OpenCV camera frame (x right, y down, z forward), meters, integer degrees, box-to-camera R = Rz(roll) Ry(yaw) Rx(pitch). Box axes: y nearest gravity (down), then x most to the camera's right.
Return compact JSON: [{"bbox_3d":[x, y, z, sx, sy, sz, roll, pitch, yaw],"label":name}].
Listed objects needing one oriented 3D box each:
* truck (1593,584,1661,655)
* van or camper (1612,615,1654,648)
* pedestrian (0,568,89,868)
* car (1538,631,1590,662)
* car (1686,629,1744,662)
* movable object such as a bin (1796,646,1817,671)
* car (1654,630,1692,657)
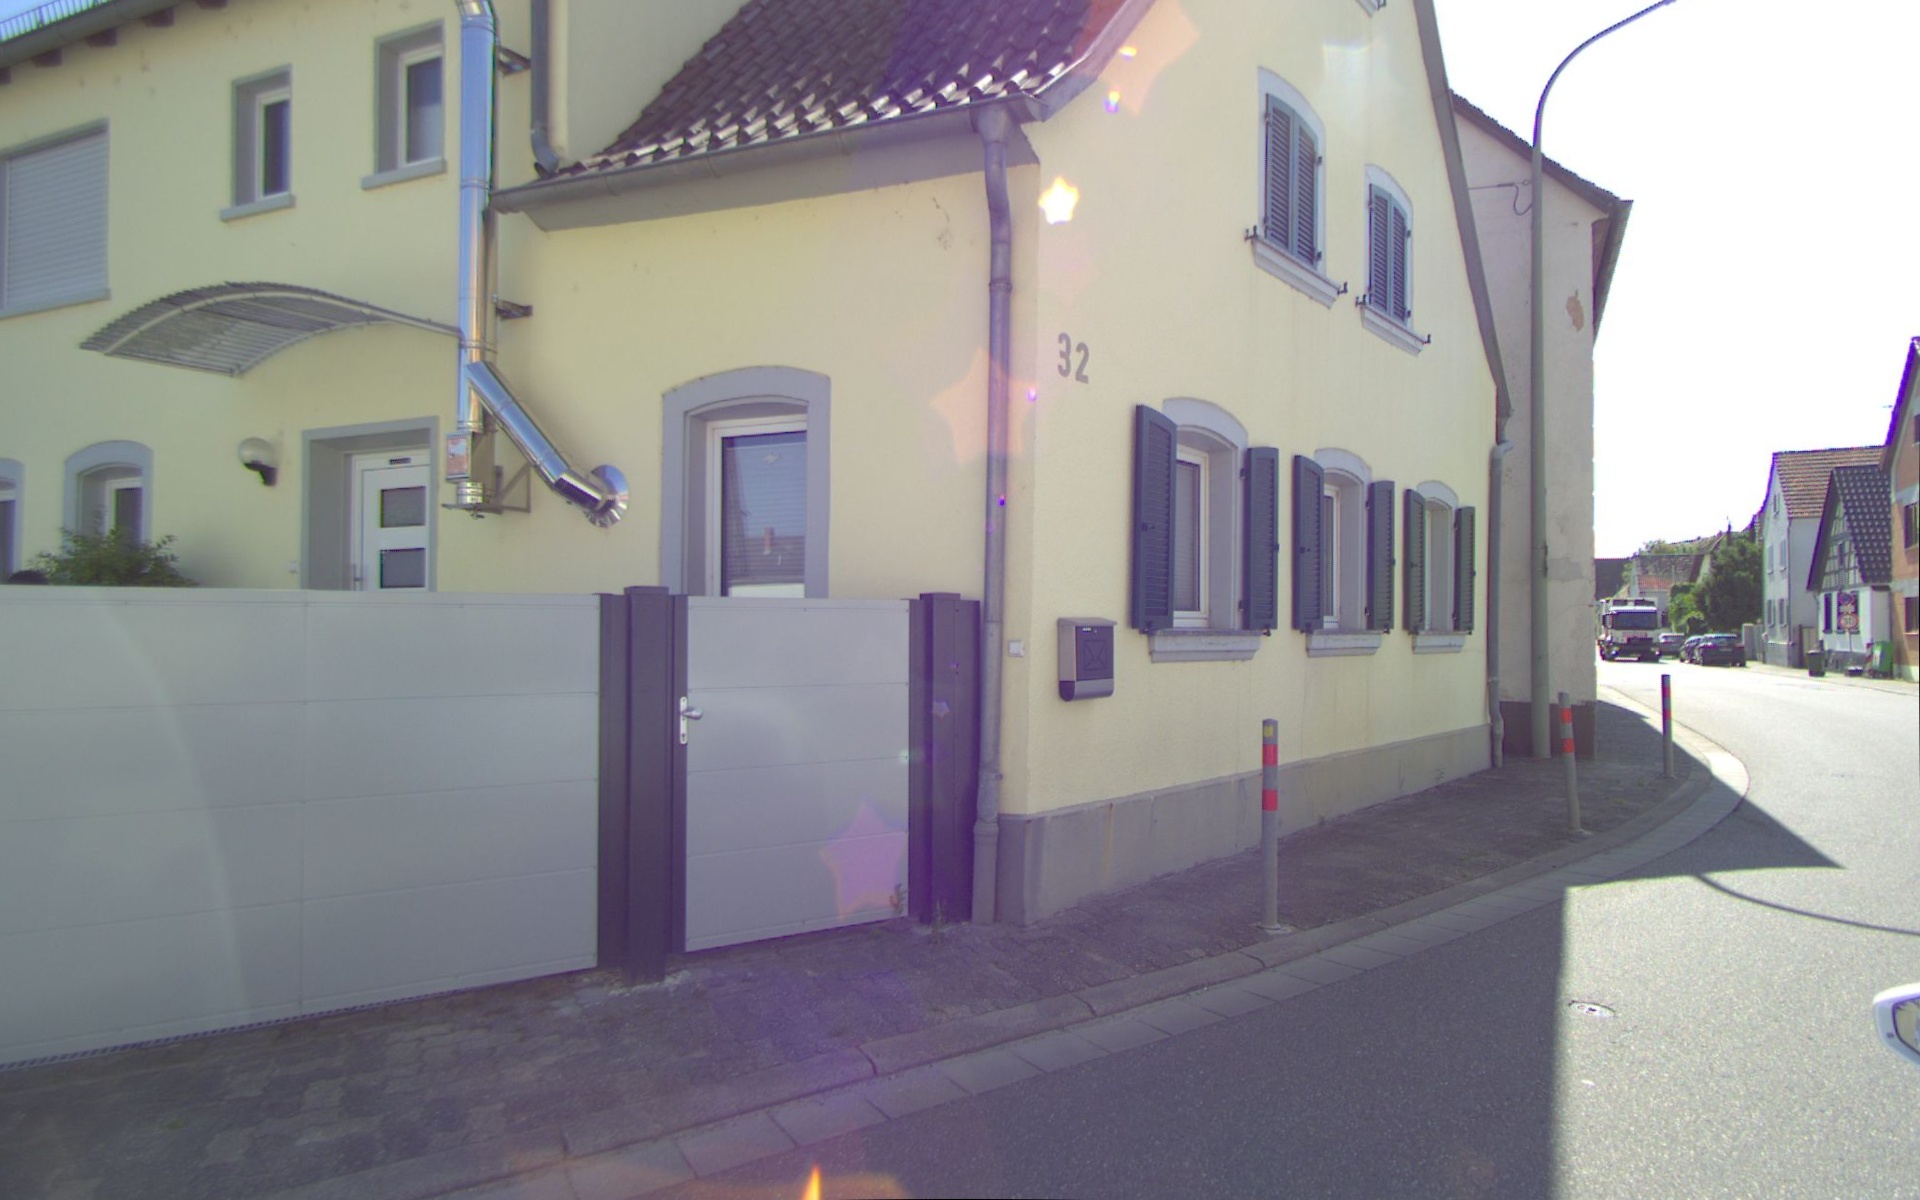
[{"bbox_3d":[39.063,1.194,59.124,2.657,3.799,10.848,-1,-2,30],"label":"truck"},{"bbox_3d":[57.783,2.693,86.325,2.484,2.732,4.548,-1,-2,29],"label":"van or camper"},{"bbox_3d":[-5.417,0.655,5.783,0.398,1.666,0.446,1,-1,-8],"label":"pedestrian"},{"bbox_3d":[29.790,2.274,49.668,1.806,1.483,4.266,-1,-2,26],"label":"car"},{"bbox_3d":[38.239,2.290,50.973,1.771,1.580,4.623,-1,-2,30],"label":"car"},{"bbox_3d":[31.642,2.173,37.529,0.548,0.925,0.533,1,-2,-43],"label":"movable object such as a bin"},{"bbox_3d":[46.384,2.815,65.437,1.769,1.652,4.349,-1,-2,33],"label":"car"}]
